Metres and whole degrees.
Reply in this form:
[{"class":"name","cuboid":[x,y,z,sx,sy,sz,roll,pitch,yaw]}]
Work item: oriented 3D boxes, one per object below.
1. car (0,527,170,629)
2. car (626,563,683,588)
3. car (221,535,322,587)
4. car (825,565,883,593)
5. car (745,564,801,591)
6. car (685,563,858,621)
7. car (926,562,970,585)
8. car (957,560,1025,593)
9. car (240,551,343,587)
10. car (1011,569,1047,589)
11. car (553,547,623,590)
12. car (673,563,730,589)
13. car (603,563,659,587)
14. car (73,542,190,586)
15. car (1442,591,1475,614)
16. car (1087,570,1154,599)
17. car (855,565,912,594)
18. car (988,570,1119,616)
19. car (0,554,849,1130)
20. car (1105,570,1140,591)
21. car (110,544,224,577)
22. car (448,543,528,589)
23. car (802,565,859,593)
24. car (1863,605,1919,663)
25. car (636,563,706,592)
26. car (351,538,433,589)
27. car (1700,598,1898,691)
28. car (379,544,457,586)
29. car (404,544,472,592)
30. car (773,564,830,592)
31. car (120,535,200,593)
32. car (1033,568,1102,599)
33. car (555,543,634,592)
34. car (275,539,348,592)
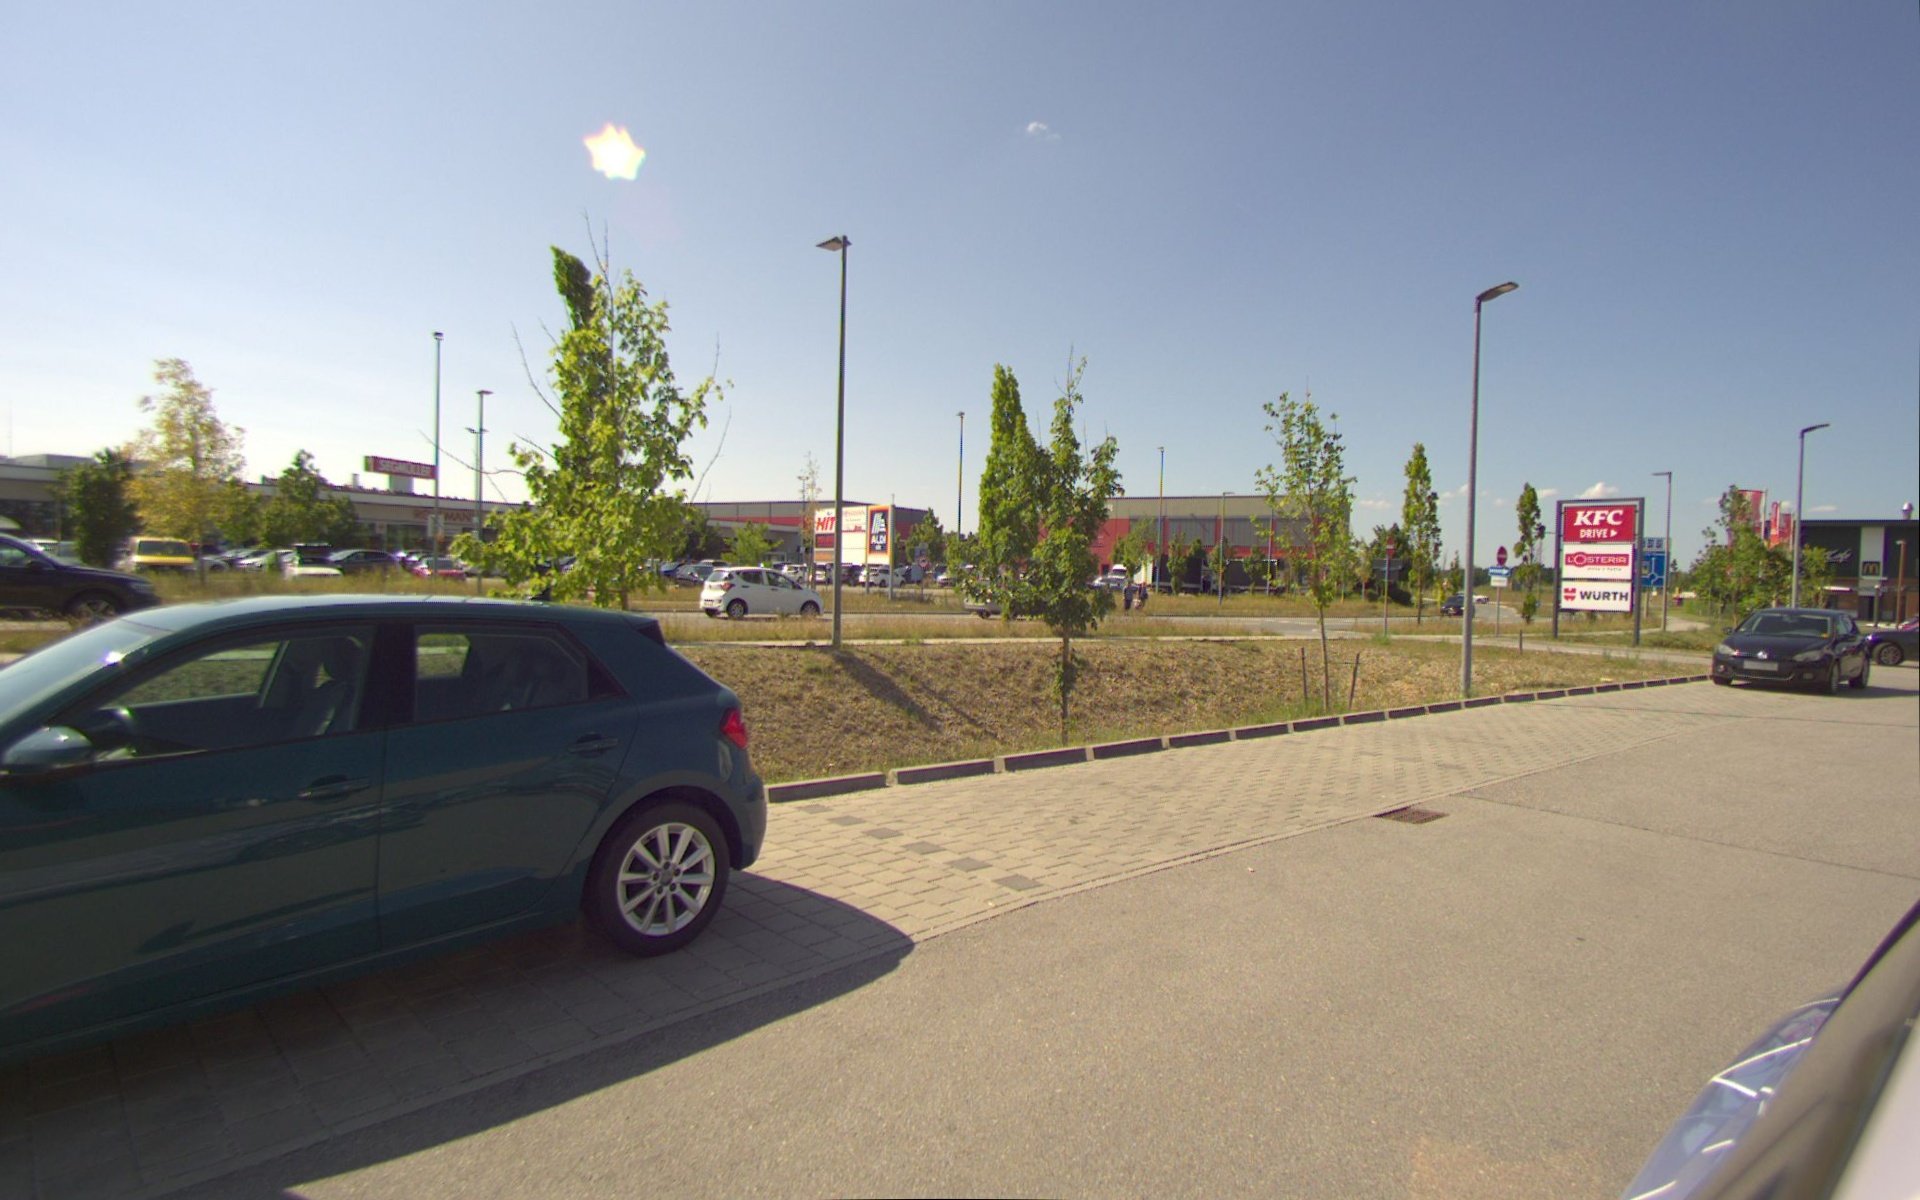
[{"class":"car","cuboid":[-15.608,-0.362,16.053,4.683,1.570,1.942,0,1,-45]},{"class":"car","cuboid":[-26.092,-2.087,86.582,1.984,2.063,4.434,1,1,31]},{"class":"car","cuboid":[-39.644,-2.212,58.399,1.980,2.857,4.445,1,1,25]},{"class":"car","cuboid":[-7.926,-1.550,76.024,1.984,2.063,4.434,1,1,31]},{"class":"car","cuboid":[-14.790,-1.757,80.217,1.984,2.063,4.434,1,1,31]},{"class":"car","cuboid":[-5.516,-0.242,29.947,4.677,1.570,1.944,0,1,-40]},{"class":"car","cuboid":[-1.063,-2.389,92.182,1.984,2.063,4.434,1,1,31]},{"class":"car","cuboid":[2.193,-1.624,71.297,4.393,2.213,2.003,1,1,-28]},{"class":"car","cuboid":[-37.405,-1.702,56.713,1.984,1.886,4.434,1,1,31]},{"class":"car","cuboid":[7.476,-2.283,108.955,1.984,2.063,4.434,1,1,31]},{"class":"car","cuboid":[-25.879,-2.181,70.539,1.980,2.857,4.445,1,1,25]},{"class":"car","cuboid":[-21.369,-1.948,83.884,1.984,2.063,4.434,1,1,31]},{"class":"car","cuboid":[-28.467,-2.151,87.626,1.984,2.063,4.434,1,1,31]},{"class":"car","cuboid":[-44.369,-1.905,54.324,1.980,2.219,4.445,1,1,25]},{"class":"car","cuboid":[35.921,0.183,72.868,1.814,1.560,3.957,2,1,30]},{"class":"car","cuboid":[11.640,-1.140,73.658,4.470,2.063,1.969,2,1,44]},{"class":"car","cuboid":[-5.609,-1.477,74.443,1.984,2.063,4.434,1,1,31]},{"class":"car","cuboid":[3.471,-0.258,37.113,4.672,1.570,1.946,0,1,-37]},{"class":"car","cuboid":[-2.619,0.596,3.732,1.841,1.467,4.158,3,2,45]},{"class":"car","cuboid":[16.508,-2.002,102.930,1.984,2.063,4.434,1,1,31]},{"class":"car","cuboid":[-40.282,-1.998,51.483,1.644,1.539,4.298,2,1,33]},{"class":"car","cuboid":[-31.126,-2.211,66.912,1.984,2.857,4.434,1,1,31]},{"class":"car","cuboid":[-9.944,-1.622,77.851,1.984,2.063,4.434,1,1,31]},{"class":"car","cuboid":[26.872,0.976,26.593,1.966,1.476,4.525,1,2,-43]},{"class":"car","cuboid":[-19.032,-1.456,66.753,1.984,1.806,4.267,2,1,31]},{"class":"car","cuboid":[-33.194,-2.107,59.283,1.966,2.857,4.477,1,1,7]},{"class":"car","cuboid":[15.750,0.762,18.928,4.283,1.483,1.878,1,1,-37]},{"class":"car","cuboid":[-37.861,-2.409,70.748,1.984,2.857,4.434,1,1,31]},{"class":"car","cuboid":[-23.410,-1.440,45.321,1.849,2.038,4.135,1,2,-39]},{"class":"car","cuboid":[-12.345,-1.687,78.911,1.984,2.063,4.434,1,1,31]},{"class":"car","cuboid":[-30.651,-1.391,38.709,2.127,2.038,5.108,0,2,-41]},{"class":"car","cuboid":[7.415,-1.153,70.128,4.470,2.063,1.969,2,1,44]},{"class":"car","cuboid":[-22.109,-1.939,61.384,1.980,2.857,4.445,1,1,25]},{"class":"car","cuboid":[-27.073,-1.455,42.186,1.910,2.038,4.404,1,2,-41]}]
